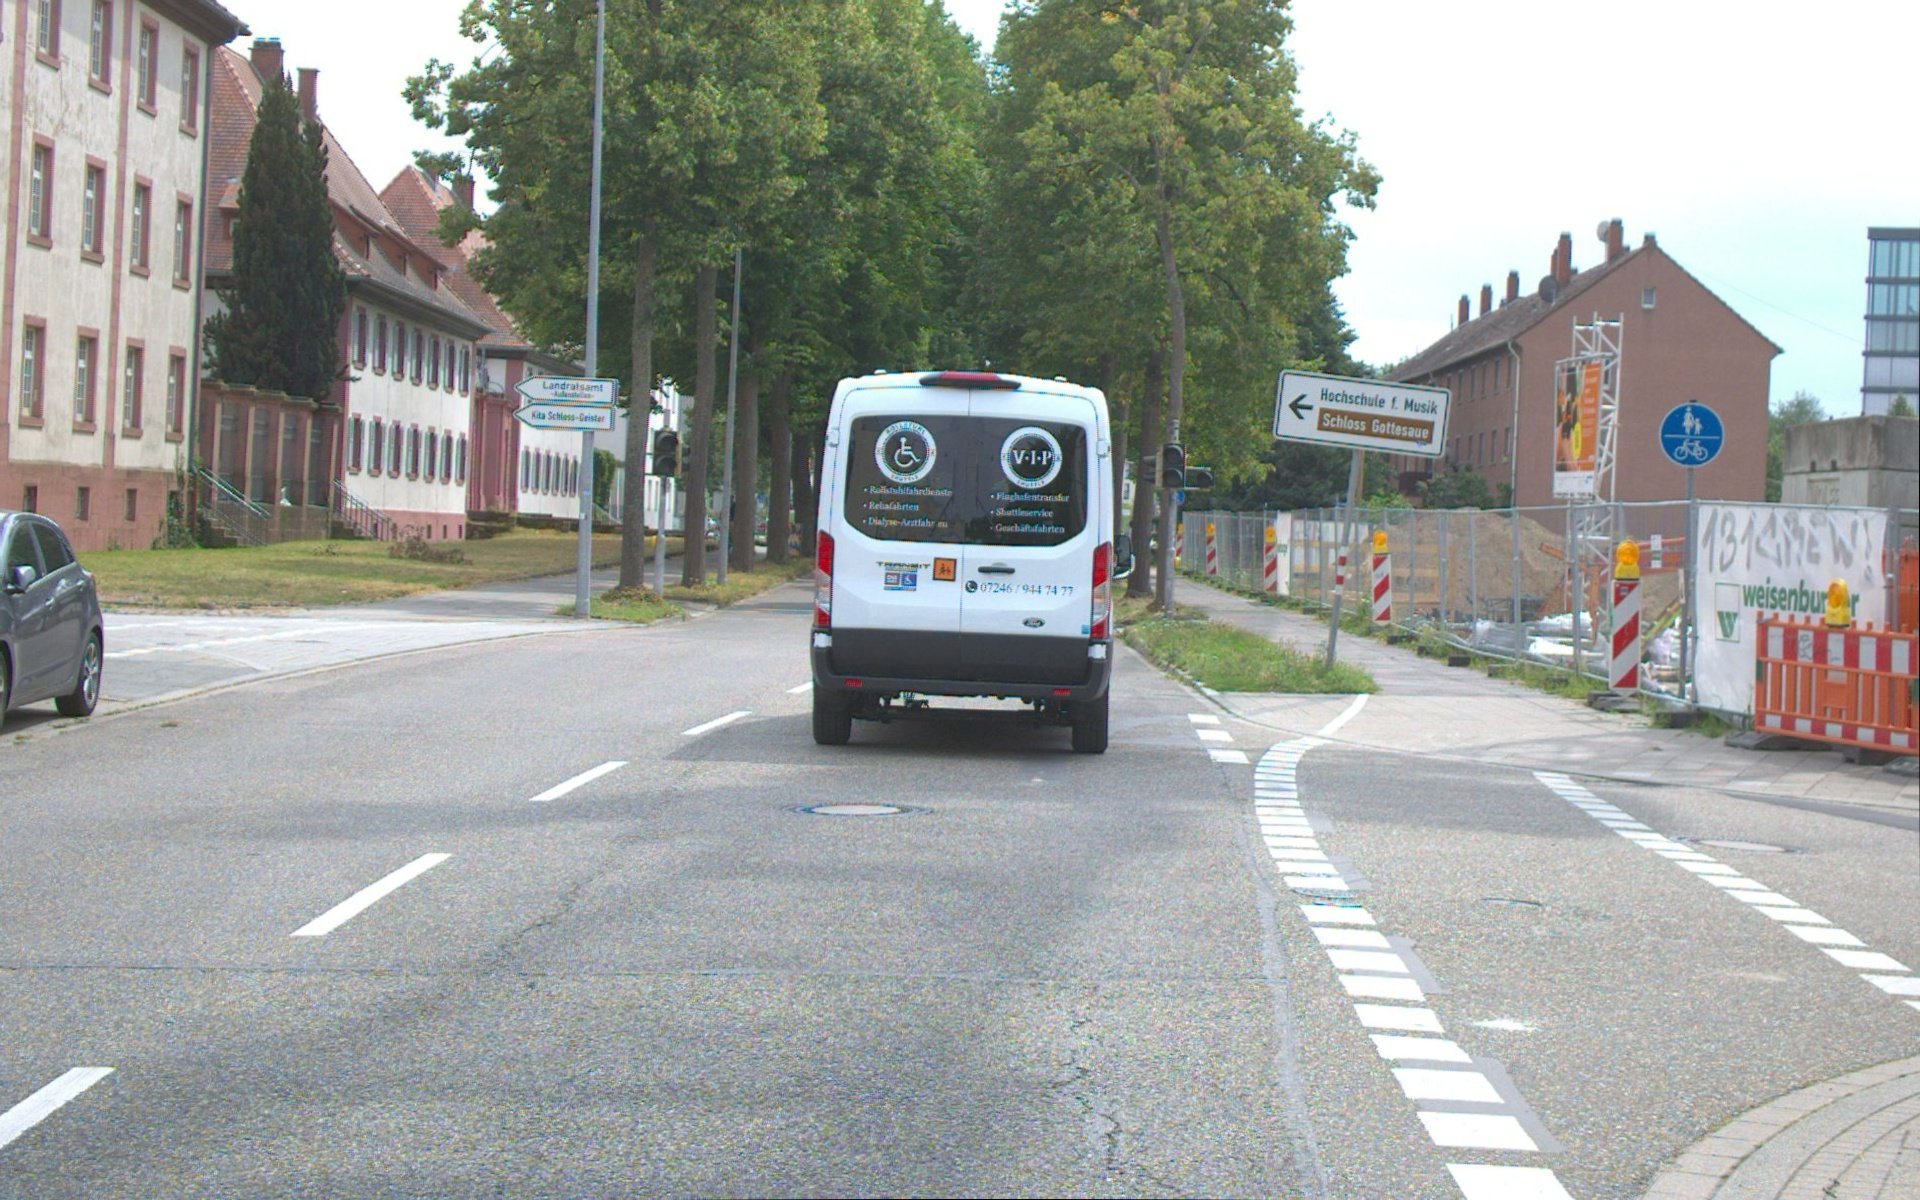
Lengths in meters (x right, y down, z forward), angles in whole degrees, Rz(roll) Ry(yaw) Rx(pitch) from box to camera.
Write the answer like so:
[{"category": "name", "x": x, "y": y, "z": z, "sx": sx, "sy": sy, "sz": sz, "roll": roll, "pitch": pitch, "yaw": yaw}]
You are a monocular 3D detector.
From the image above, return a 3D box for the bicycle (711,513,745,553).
[{"category": "bicycle", "x": -6.866, "y": -1.974, "z": 101.766, "sx": 0.723, "sy": 1.091, "sz": 2.151, "roll": 7, "pitch": 1, "yaw": 0}]

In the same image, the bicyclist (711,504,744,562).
[{"category": "bicyclist", "x": -6.873, "y": -1.988, "z": 101.783, "sx": 0.723, "sy": 1.650, "sz": 0.958, "roll": 7, "pitch": 1, "yaw": 0}]

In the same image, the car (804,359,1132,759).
[{"category": "car", "x": -0.034, "y": -0.285, "z": 24.163, "sx": 2.062, "sy": 2.531, "sz": 4.000, "roll": 1, "pitch": 1, "yaw": -2}]

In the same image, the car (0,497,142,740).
[{"category": "car", "x": -6.898, "y": 0.038, "z": 22.995, "sx": 1.822, "sy": 1.468, "sz": 4.298, "roll": 5, "pitch": 1, "yaw": -2}]
